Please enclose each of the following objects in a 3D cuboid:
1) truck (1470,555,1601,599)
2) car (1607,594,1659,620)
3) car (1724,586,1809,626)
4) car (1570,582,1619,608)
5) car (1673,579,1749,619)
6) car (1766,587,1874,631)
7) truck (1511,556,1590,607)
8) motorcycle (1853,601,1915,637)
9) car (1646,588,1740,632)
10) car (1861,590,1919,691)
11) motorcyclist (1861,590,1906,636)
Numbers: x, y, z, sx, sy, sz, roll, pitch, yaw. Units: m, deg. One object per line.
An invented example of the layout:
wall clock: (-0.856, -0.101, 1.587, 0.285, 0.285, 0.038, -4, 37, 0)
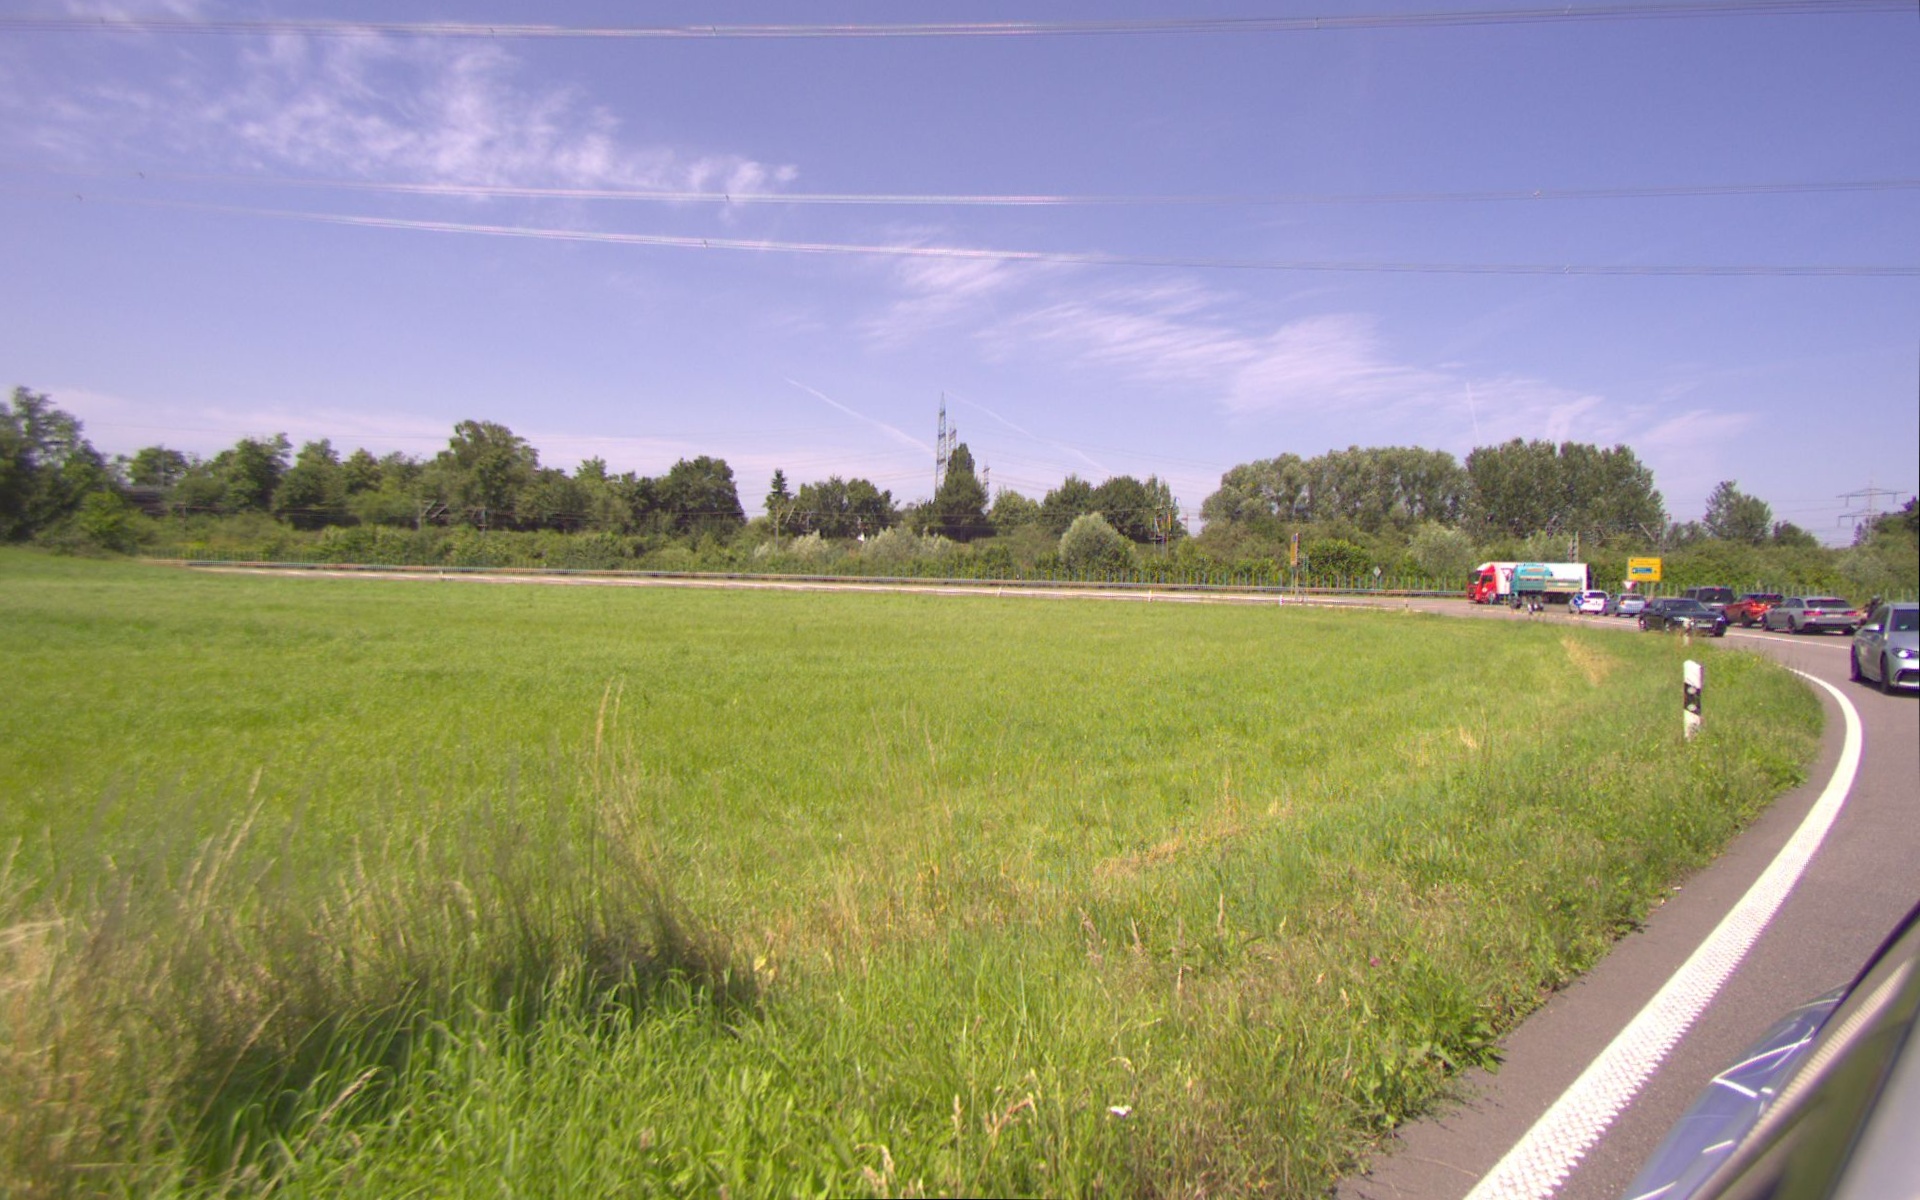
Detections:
truck: (49.245, -1.975, 86.851, 9.389, 3.624, 2.722, 0, 1, 6)
car: (40.926, 0.398, 61.607, 1.616, 1.477, 3.984, 1, 1, 18)
car: (35.612, 0.222, 44.826, 1.785, 1.534, 4.358, 2, 2, 23)
car: (42.466, -0.346, 67.793, 1.755, 1.641, 4.305, 0, 1, 18)
car: (38.109, -0.114, 51.452, 1.909, 1.854, 4.409, 2, 2, 21)
car: (33.239, 0.294, 39.275, 1.826, 1.478, 4.772, 1, 2, 23)
truck: (43.717, -1.389, 75.152, 2.569, 3.514, 7.586, 2, 1, 11)
motorcycle: (31.554, 0.627, 34.596, 0.775, 1.137, 2.411, 0, 1, 23)
car: (27.804, 0.348, 38.525, 1.803, 1.457, 4.122, 1, 2, 20)
car: (16.124, 0.641, 16.394, 1.814, 1.505, 4.095, 1, 0, 36)
motorcyclist: (31.591, 0.434, 34.648, 0.774, 1.513, 1.122, 1, 1, 23)
